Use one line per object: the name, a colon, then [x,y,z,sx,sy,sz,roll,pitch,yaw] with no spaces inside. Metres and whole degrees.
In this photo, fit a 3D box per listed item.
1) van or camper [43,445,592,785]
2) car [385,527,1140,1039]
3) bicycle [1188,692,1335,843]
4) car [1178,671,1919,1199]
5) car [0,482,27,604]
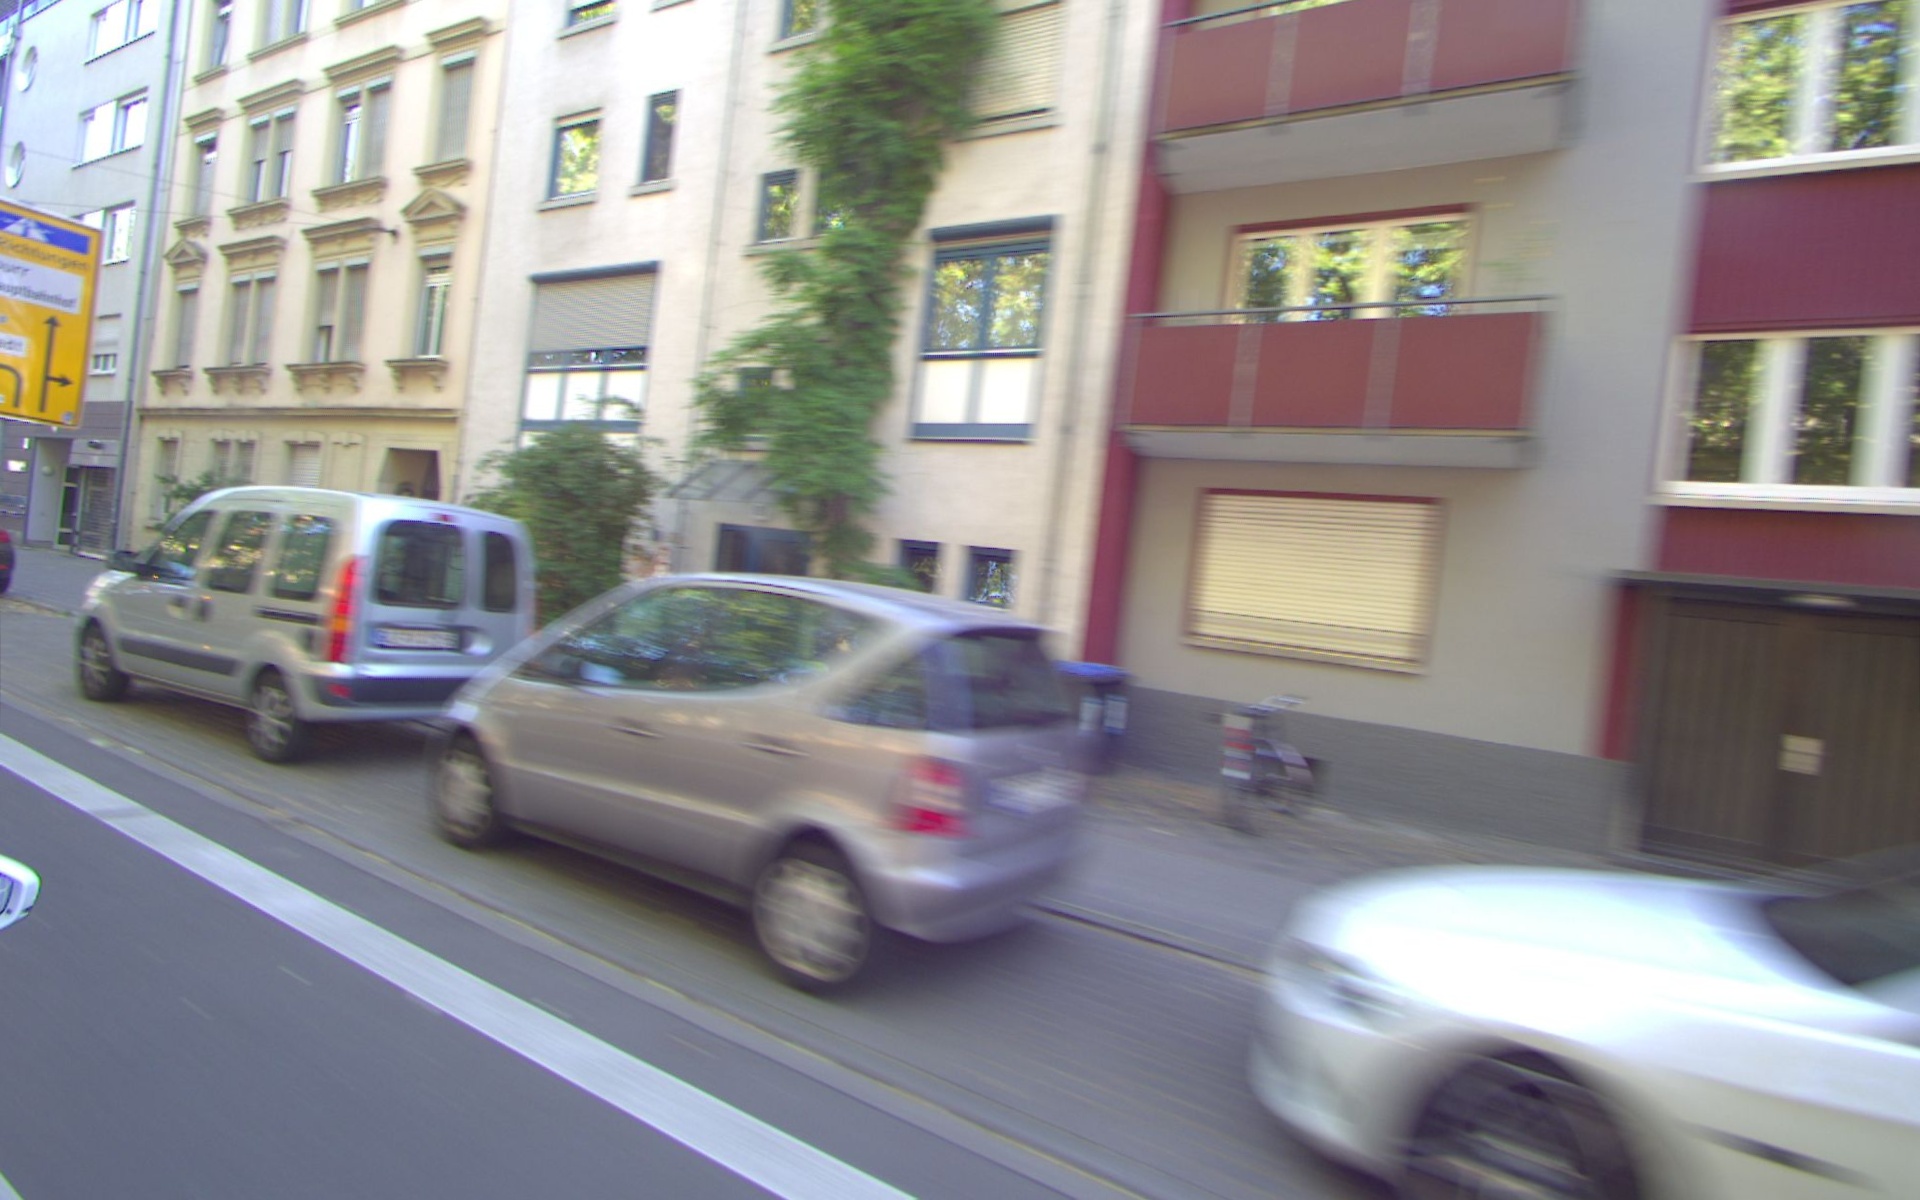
van or camper: [-4.995,-0.019,7.692,4.138,1.907,1.671,7,1,29]
car: [-1.116,0.630,5.193,3.529,1.600,1.661,7,1,32]
bicycle: [2.581,1.339,8.460,0.469,1.043,1.892,7,1,36]
car: [3.112,1.213,2.444,4.661,1.418,1.660,7,2,31]
car: [-14.479,-0.951,13.496,4.081,1.578,1.732,6,2,30]
